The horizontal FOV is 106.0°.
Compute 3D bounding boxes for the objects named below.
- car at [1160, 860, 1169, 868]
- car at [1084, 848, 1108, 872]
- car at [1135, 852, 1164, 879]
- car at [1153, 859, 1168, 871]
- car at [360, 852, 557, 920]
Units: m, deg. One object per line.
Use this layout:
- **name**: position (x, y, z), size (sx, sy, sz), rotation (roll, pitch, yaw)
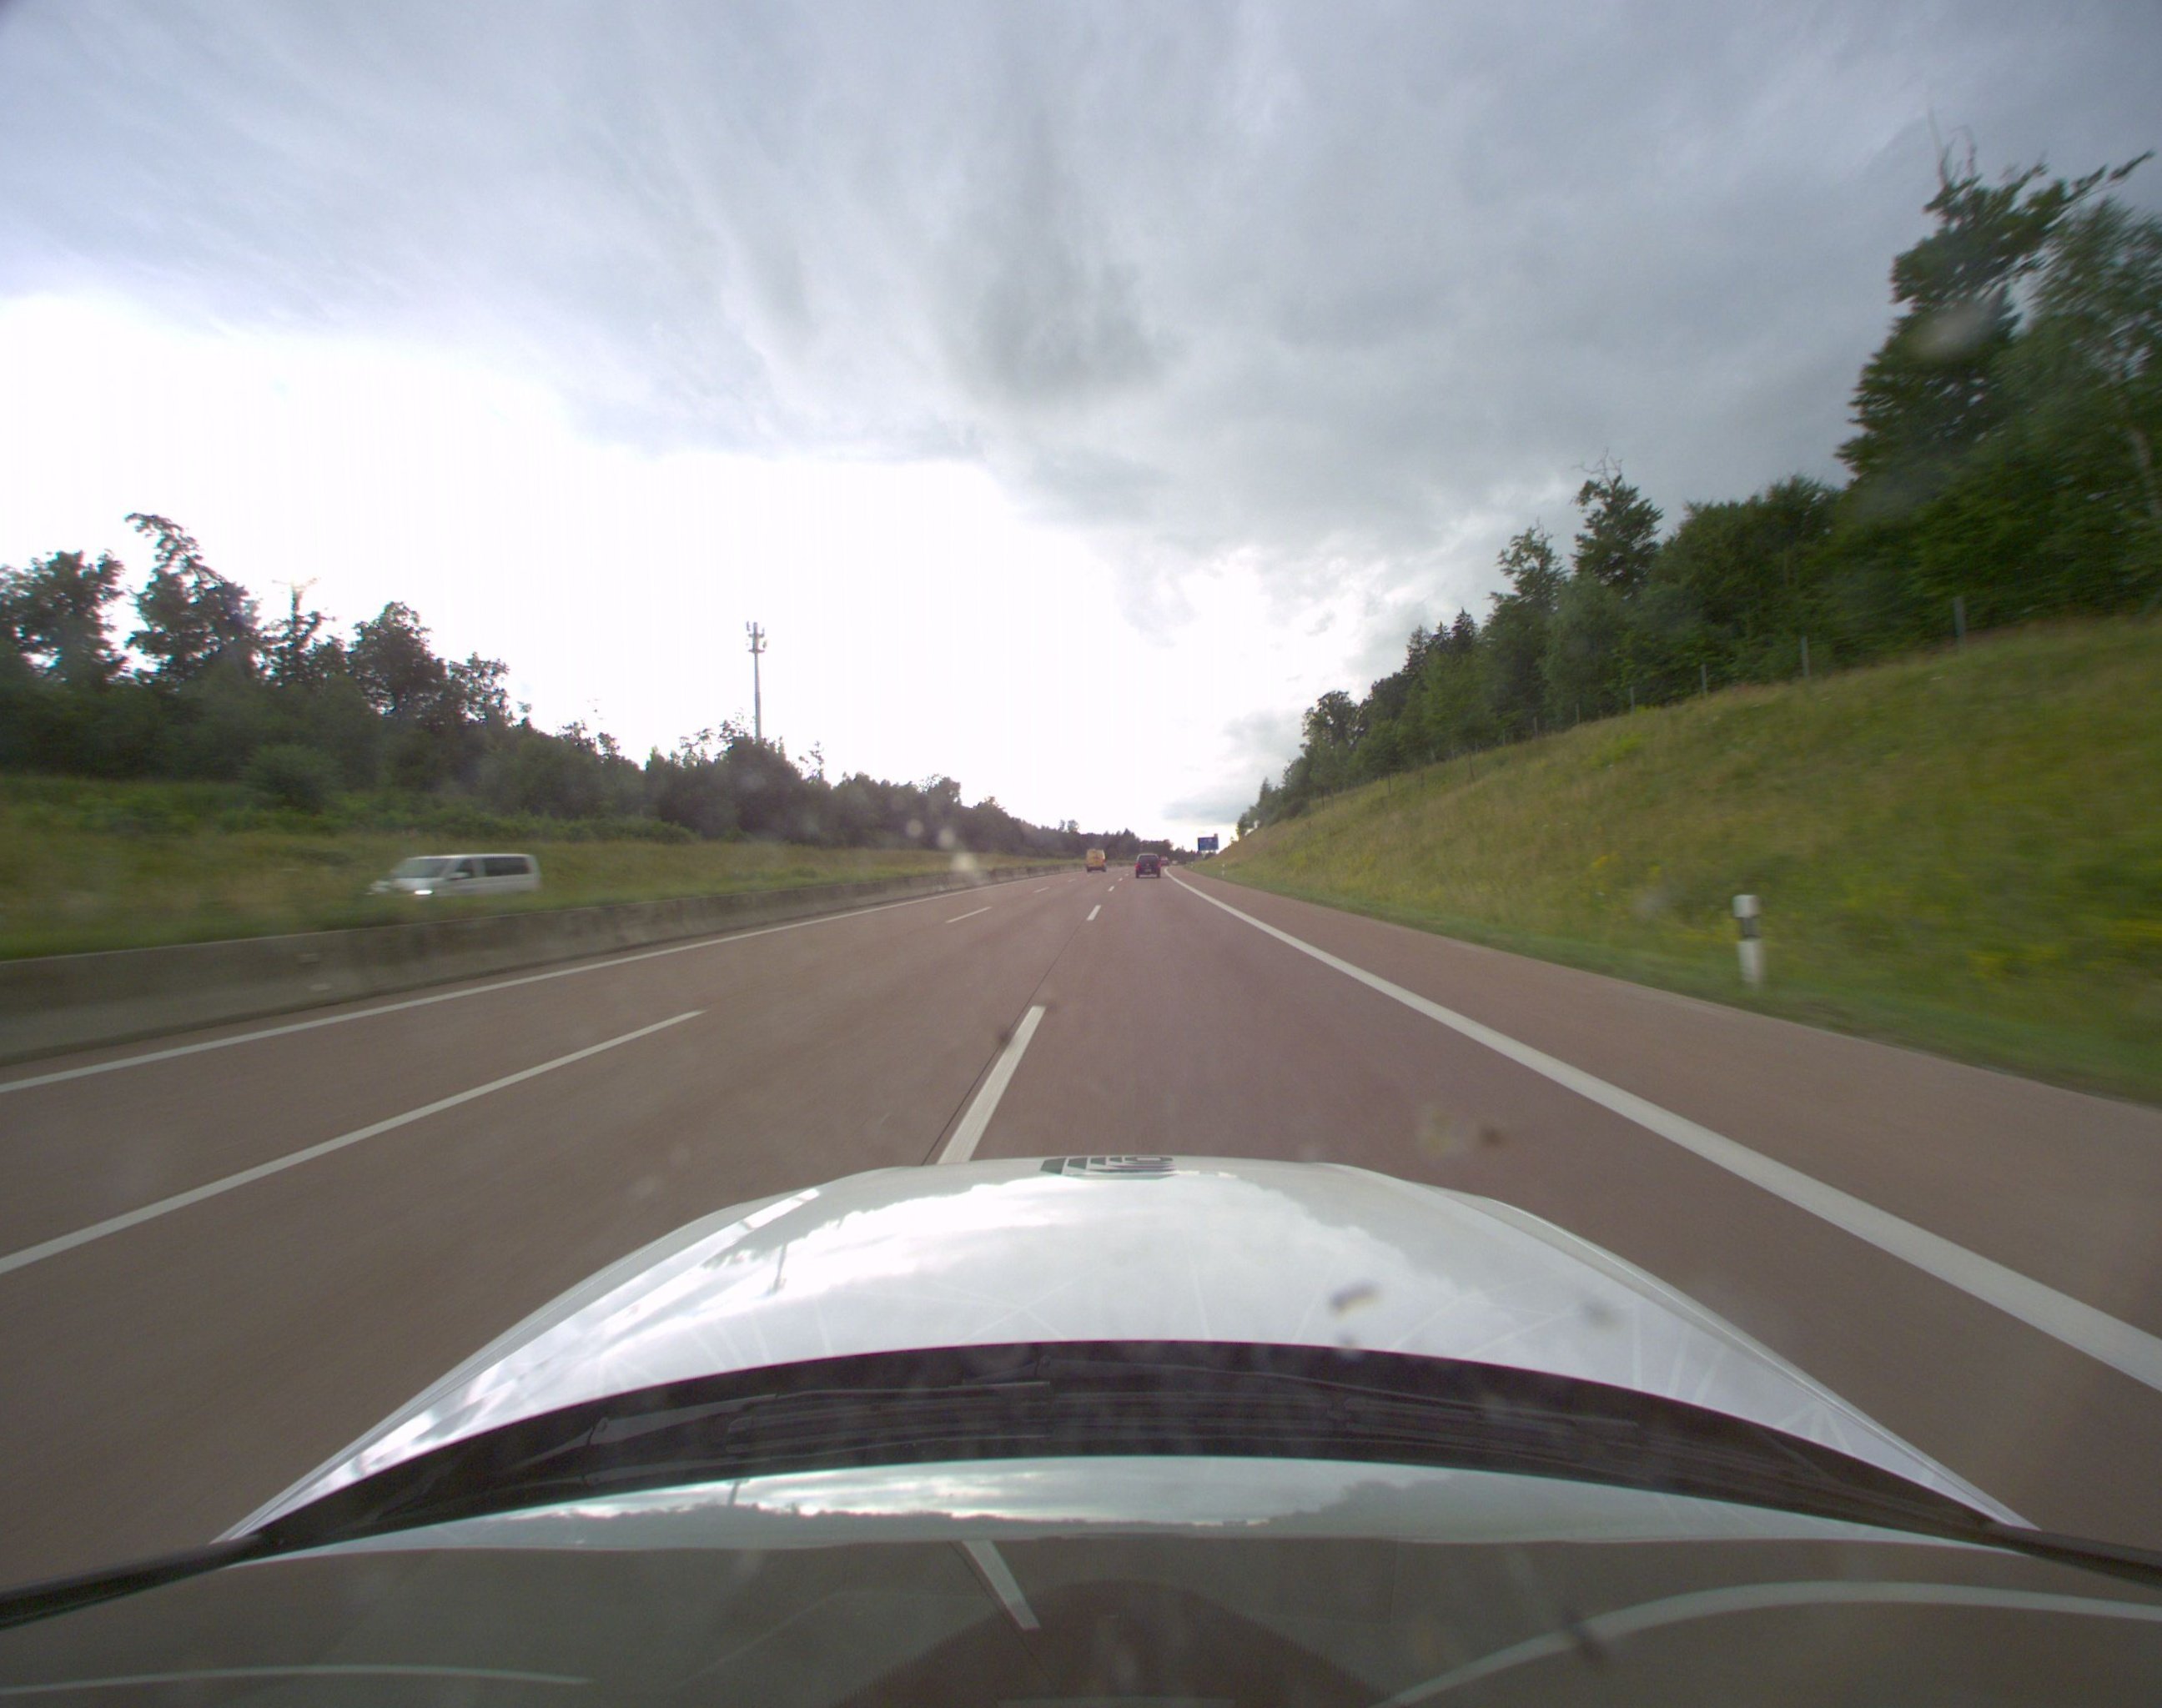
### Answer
- **car**: position (18.438, 2.317, 180.035), size (1.968, 1.648, 4.624), rotation (-2, -2, 4)
- **car**: position (1.840, 0.741, 98.173), size (2.447, 2.706, 5.621), rotation (-2, -2, 5)
- **car**: position (5.283, 0.935, 63.165), size (2.035, 1.897, 5.582), rotation (-2, -2, 4)
- **car**: position (11.503, 1.652, 117.706), size (1.967, 1.648, 4.627), rotation (-1, -1, 6)
- **car**: position (-18.758, 0.884, 24.945), size (1.910, 1.874, 5.154), rotation (-1, 0, 2)
